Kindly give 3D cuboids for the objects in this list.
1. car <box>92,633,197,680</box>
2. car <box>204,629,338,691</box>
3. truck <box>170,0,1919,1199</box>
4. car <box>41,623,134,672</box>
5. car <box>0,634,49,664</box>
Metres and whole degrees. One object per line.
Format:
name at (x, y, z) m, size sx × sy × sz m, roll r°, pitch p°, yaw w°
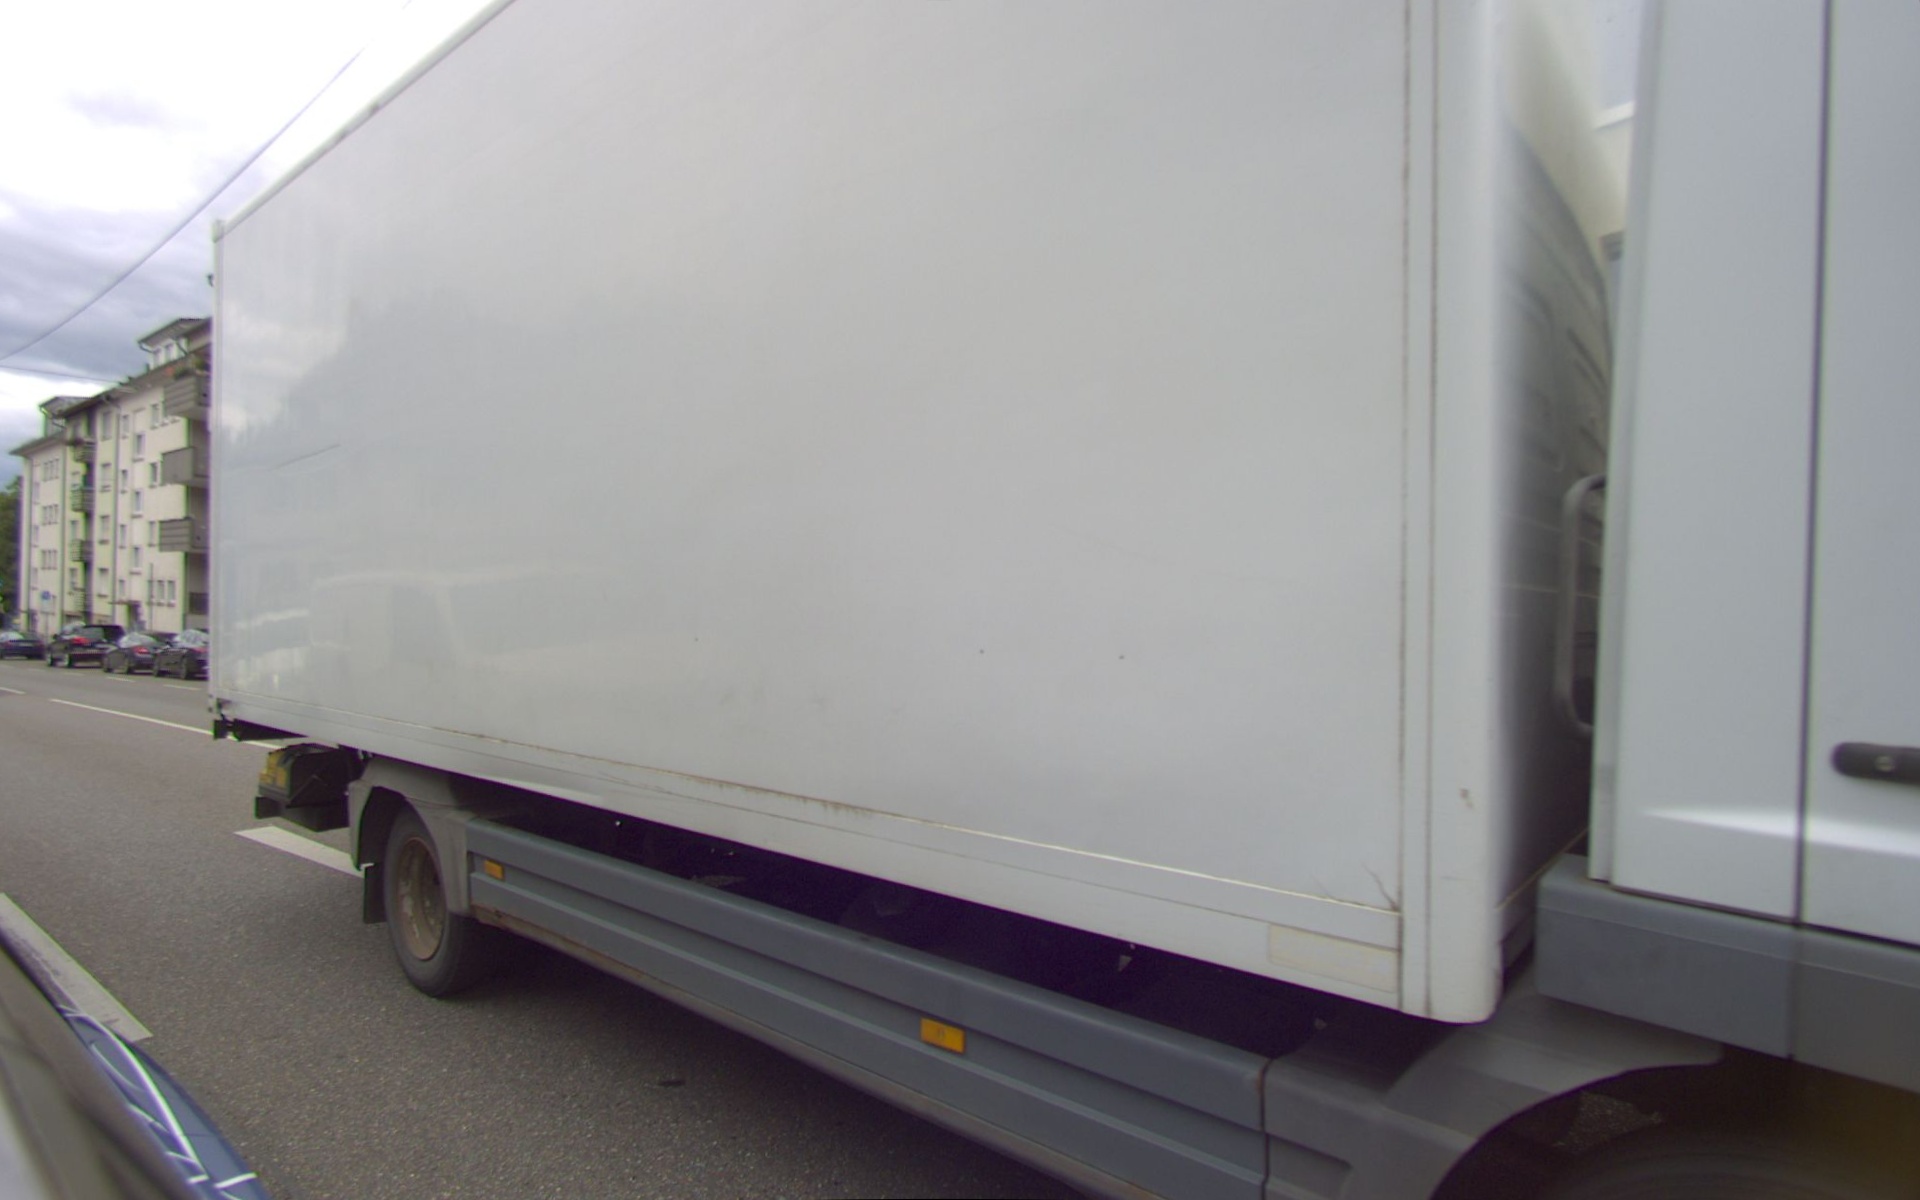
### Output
car at (-26.538, 1.777, 32.902) m, size 4.302 × 1.416 × 1.751 m, roll -2°, pitch -2°, yaw 39°
car at (-17.796, 1.523, 26.107) m, size 3.797 × 1.447 × 1.751 m, roll -1°, pitch -4°, yaw 39°
truck at (-0.175, -0.310, 3.764) m, size 8.057 × 3.602 × 2.741 m, roll -2°, pitch -1°, yaw 40°
car at (-33.524, 1.805, 38.869) m, size 4.302 × 1.767 × 1.852 m, roll -1°, pitch -4°, yaw 39°
car at (-46.399, 2.372, 49.723) m, size 4.305 × 1.391 × 1.851 m, roll -1°, pitch -4°, yaw 41°
